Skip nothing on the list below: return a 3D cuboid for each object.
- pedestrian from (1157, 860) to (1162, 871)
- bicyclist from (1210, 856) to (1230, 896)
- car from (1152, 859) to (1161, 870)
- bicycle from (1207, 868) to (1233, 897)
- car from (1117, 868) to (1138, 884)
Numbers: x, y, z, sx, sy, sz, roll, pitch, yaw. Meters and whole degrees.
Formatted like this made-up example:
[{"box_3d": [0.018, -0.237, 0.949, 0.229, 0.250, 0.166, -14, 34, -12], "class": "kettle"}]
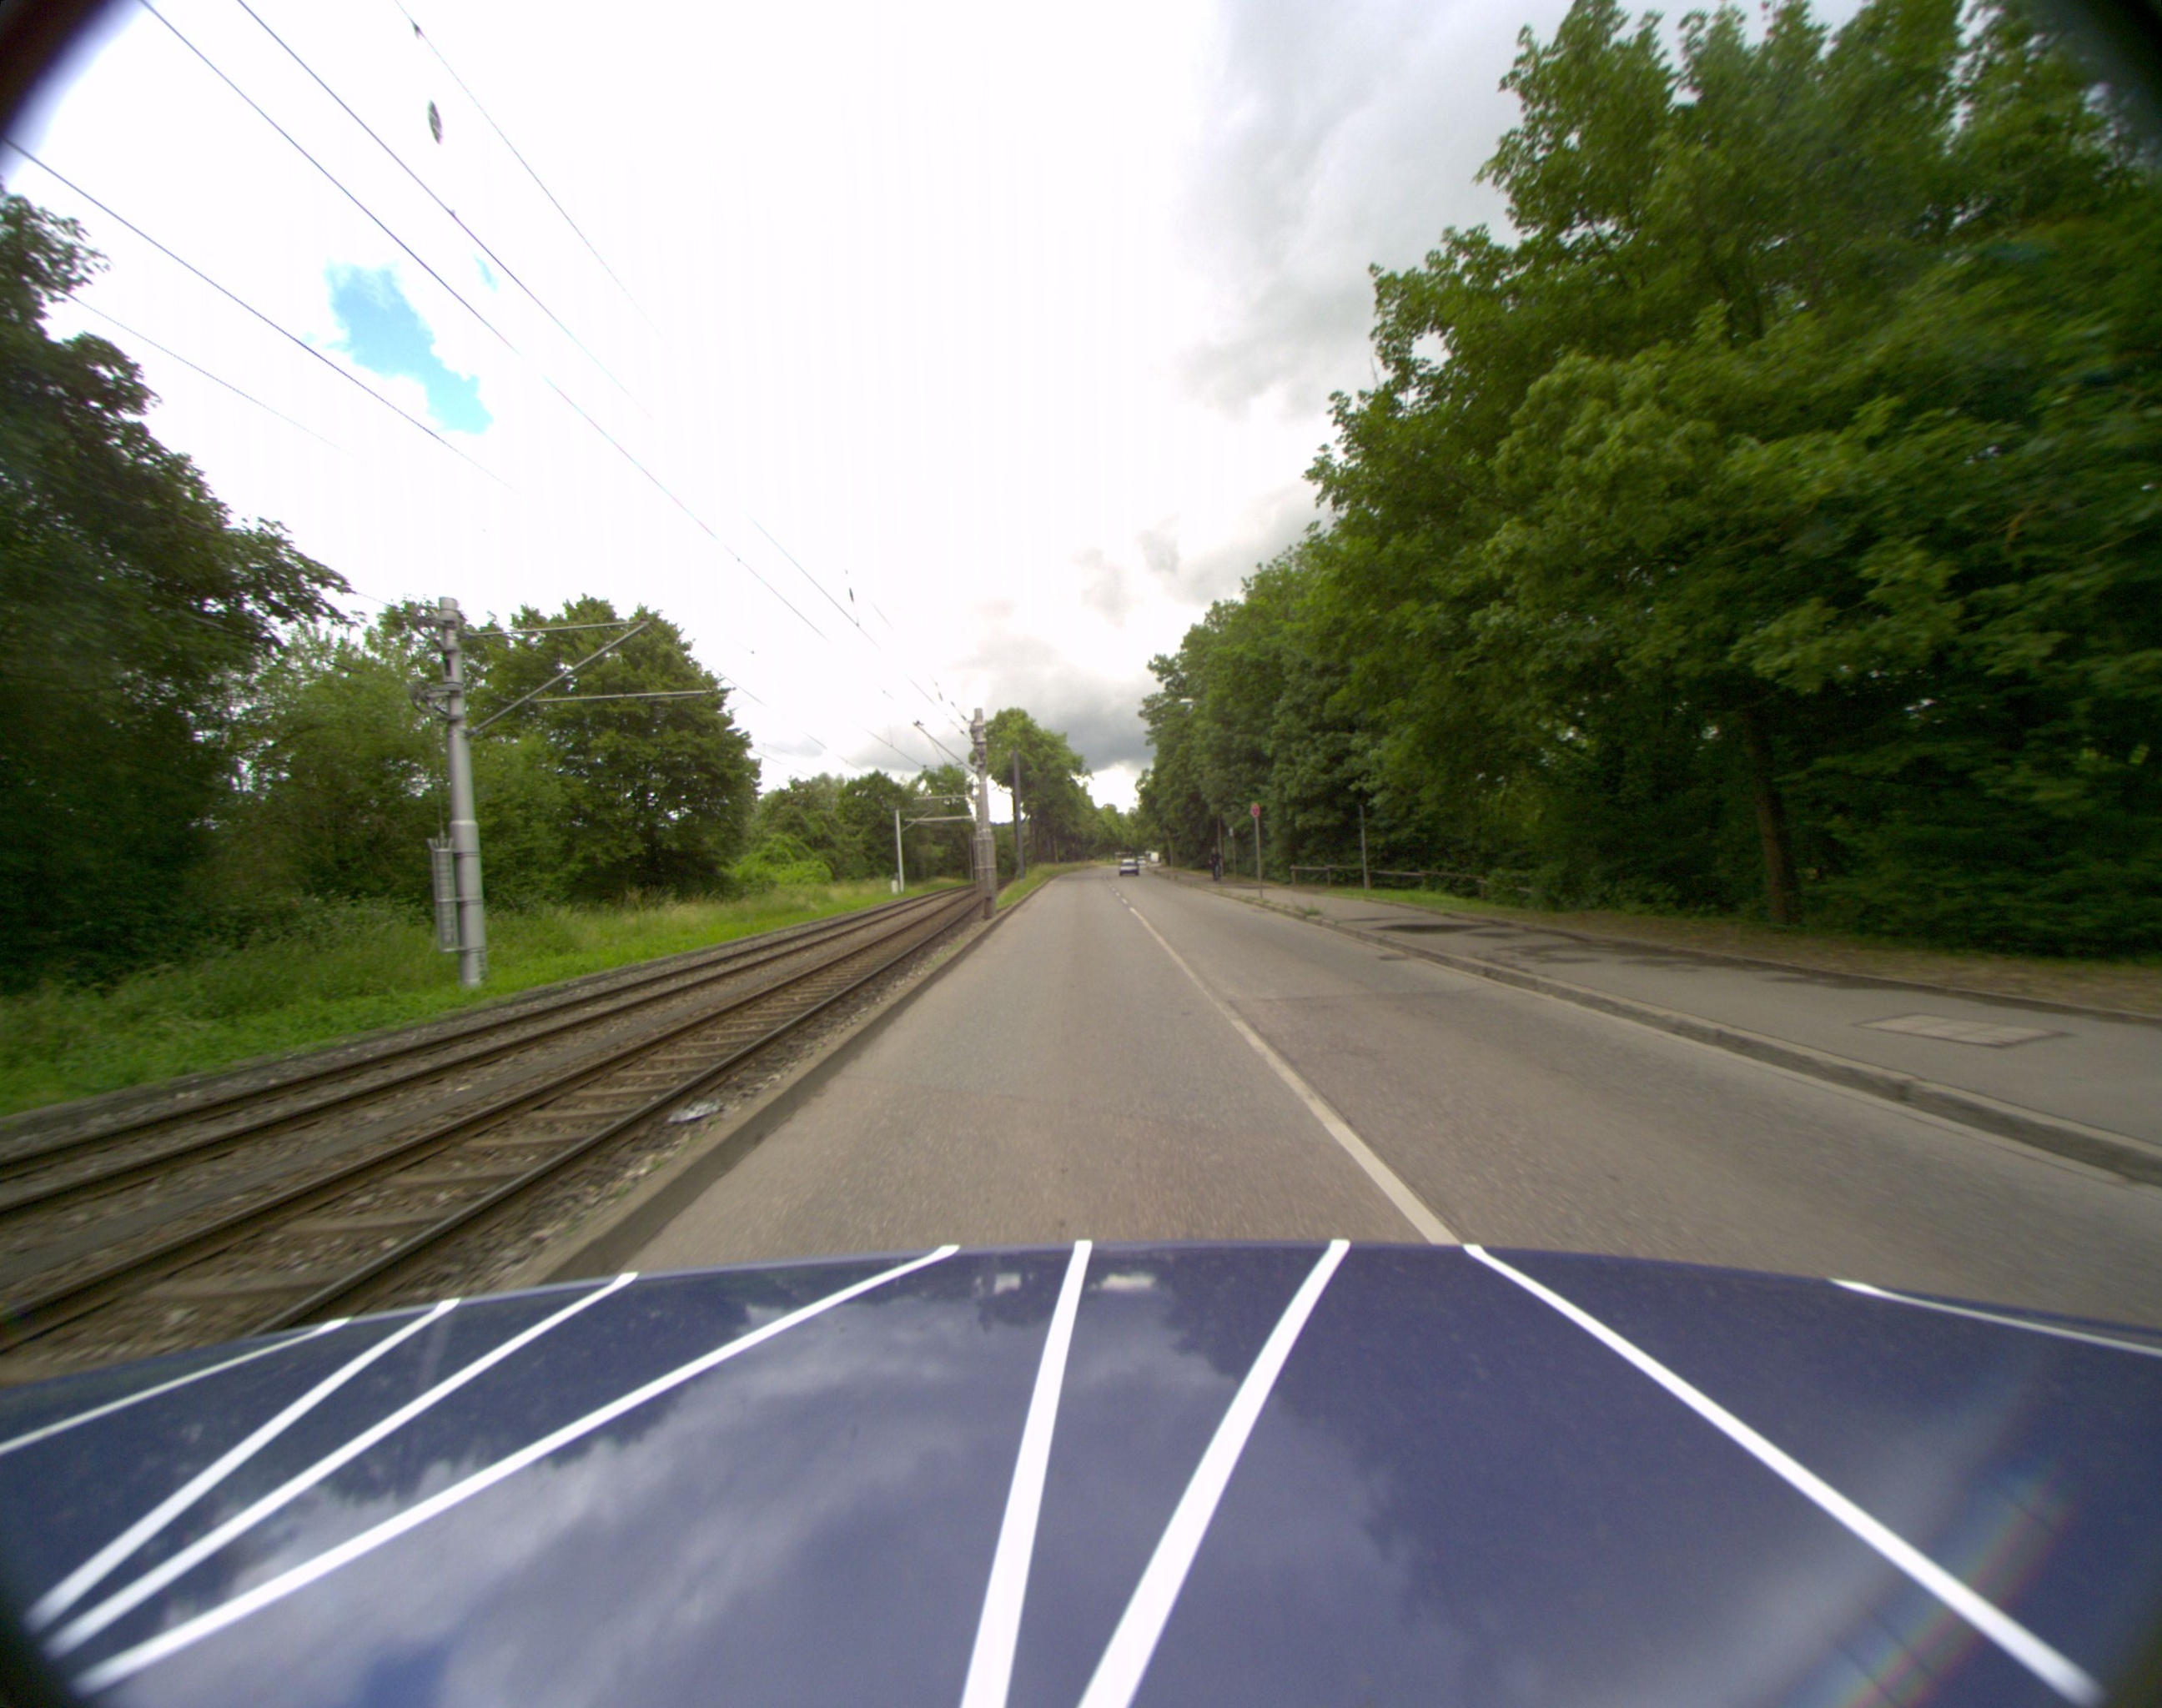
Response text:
[{"box_3d": [12.997, 1.862, 125.369, 0.600, 1.704, 0.815, -5, 0, 3], "class": "pedestrian"}, {"box_3d": [6.911, 1.090, 37.772, 0.688, 1.936, 0.835, -4, 0, -3], "class": "bicyclist"}, {"box_3d": [19.004, 2.622, 191.837, 1.998, 2.610, 5.897, -2, -1, 3], "class": "car"}, {"box_3d": [6.925, 1.399, 37.987, 0.700, 1.324, 2.280, -5, 0, -3], "class": "bicycle"}, {"box_3d": [4.389, 2.065, 71.858, 1.798, 1.483, 4.181, -1, -1, 1], "class": "car"}]
